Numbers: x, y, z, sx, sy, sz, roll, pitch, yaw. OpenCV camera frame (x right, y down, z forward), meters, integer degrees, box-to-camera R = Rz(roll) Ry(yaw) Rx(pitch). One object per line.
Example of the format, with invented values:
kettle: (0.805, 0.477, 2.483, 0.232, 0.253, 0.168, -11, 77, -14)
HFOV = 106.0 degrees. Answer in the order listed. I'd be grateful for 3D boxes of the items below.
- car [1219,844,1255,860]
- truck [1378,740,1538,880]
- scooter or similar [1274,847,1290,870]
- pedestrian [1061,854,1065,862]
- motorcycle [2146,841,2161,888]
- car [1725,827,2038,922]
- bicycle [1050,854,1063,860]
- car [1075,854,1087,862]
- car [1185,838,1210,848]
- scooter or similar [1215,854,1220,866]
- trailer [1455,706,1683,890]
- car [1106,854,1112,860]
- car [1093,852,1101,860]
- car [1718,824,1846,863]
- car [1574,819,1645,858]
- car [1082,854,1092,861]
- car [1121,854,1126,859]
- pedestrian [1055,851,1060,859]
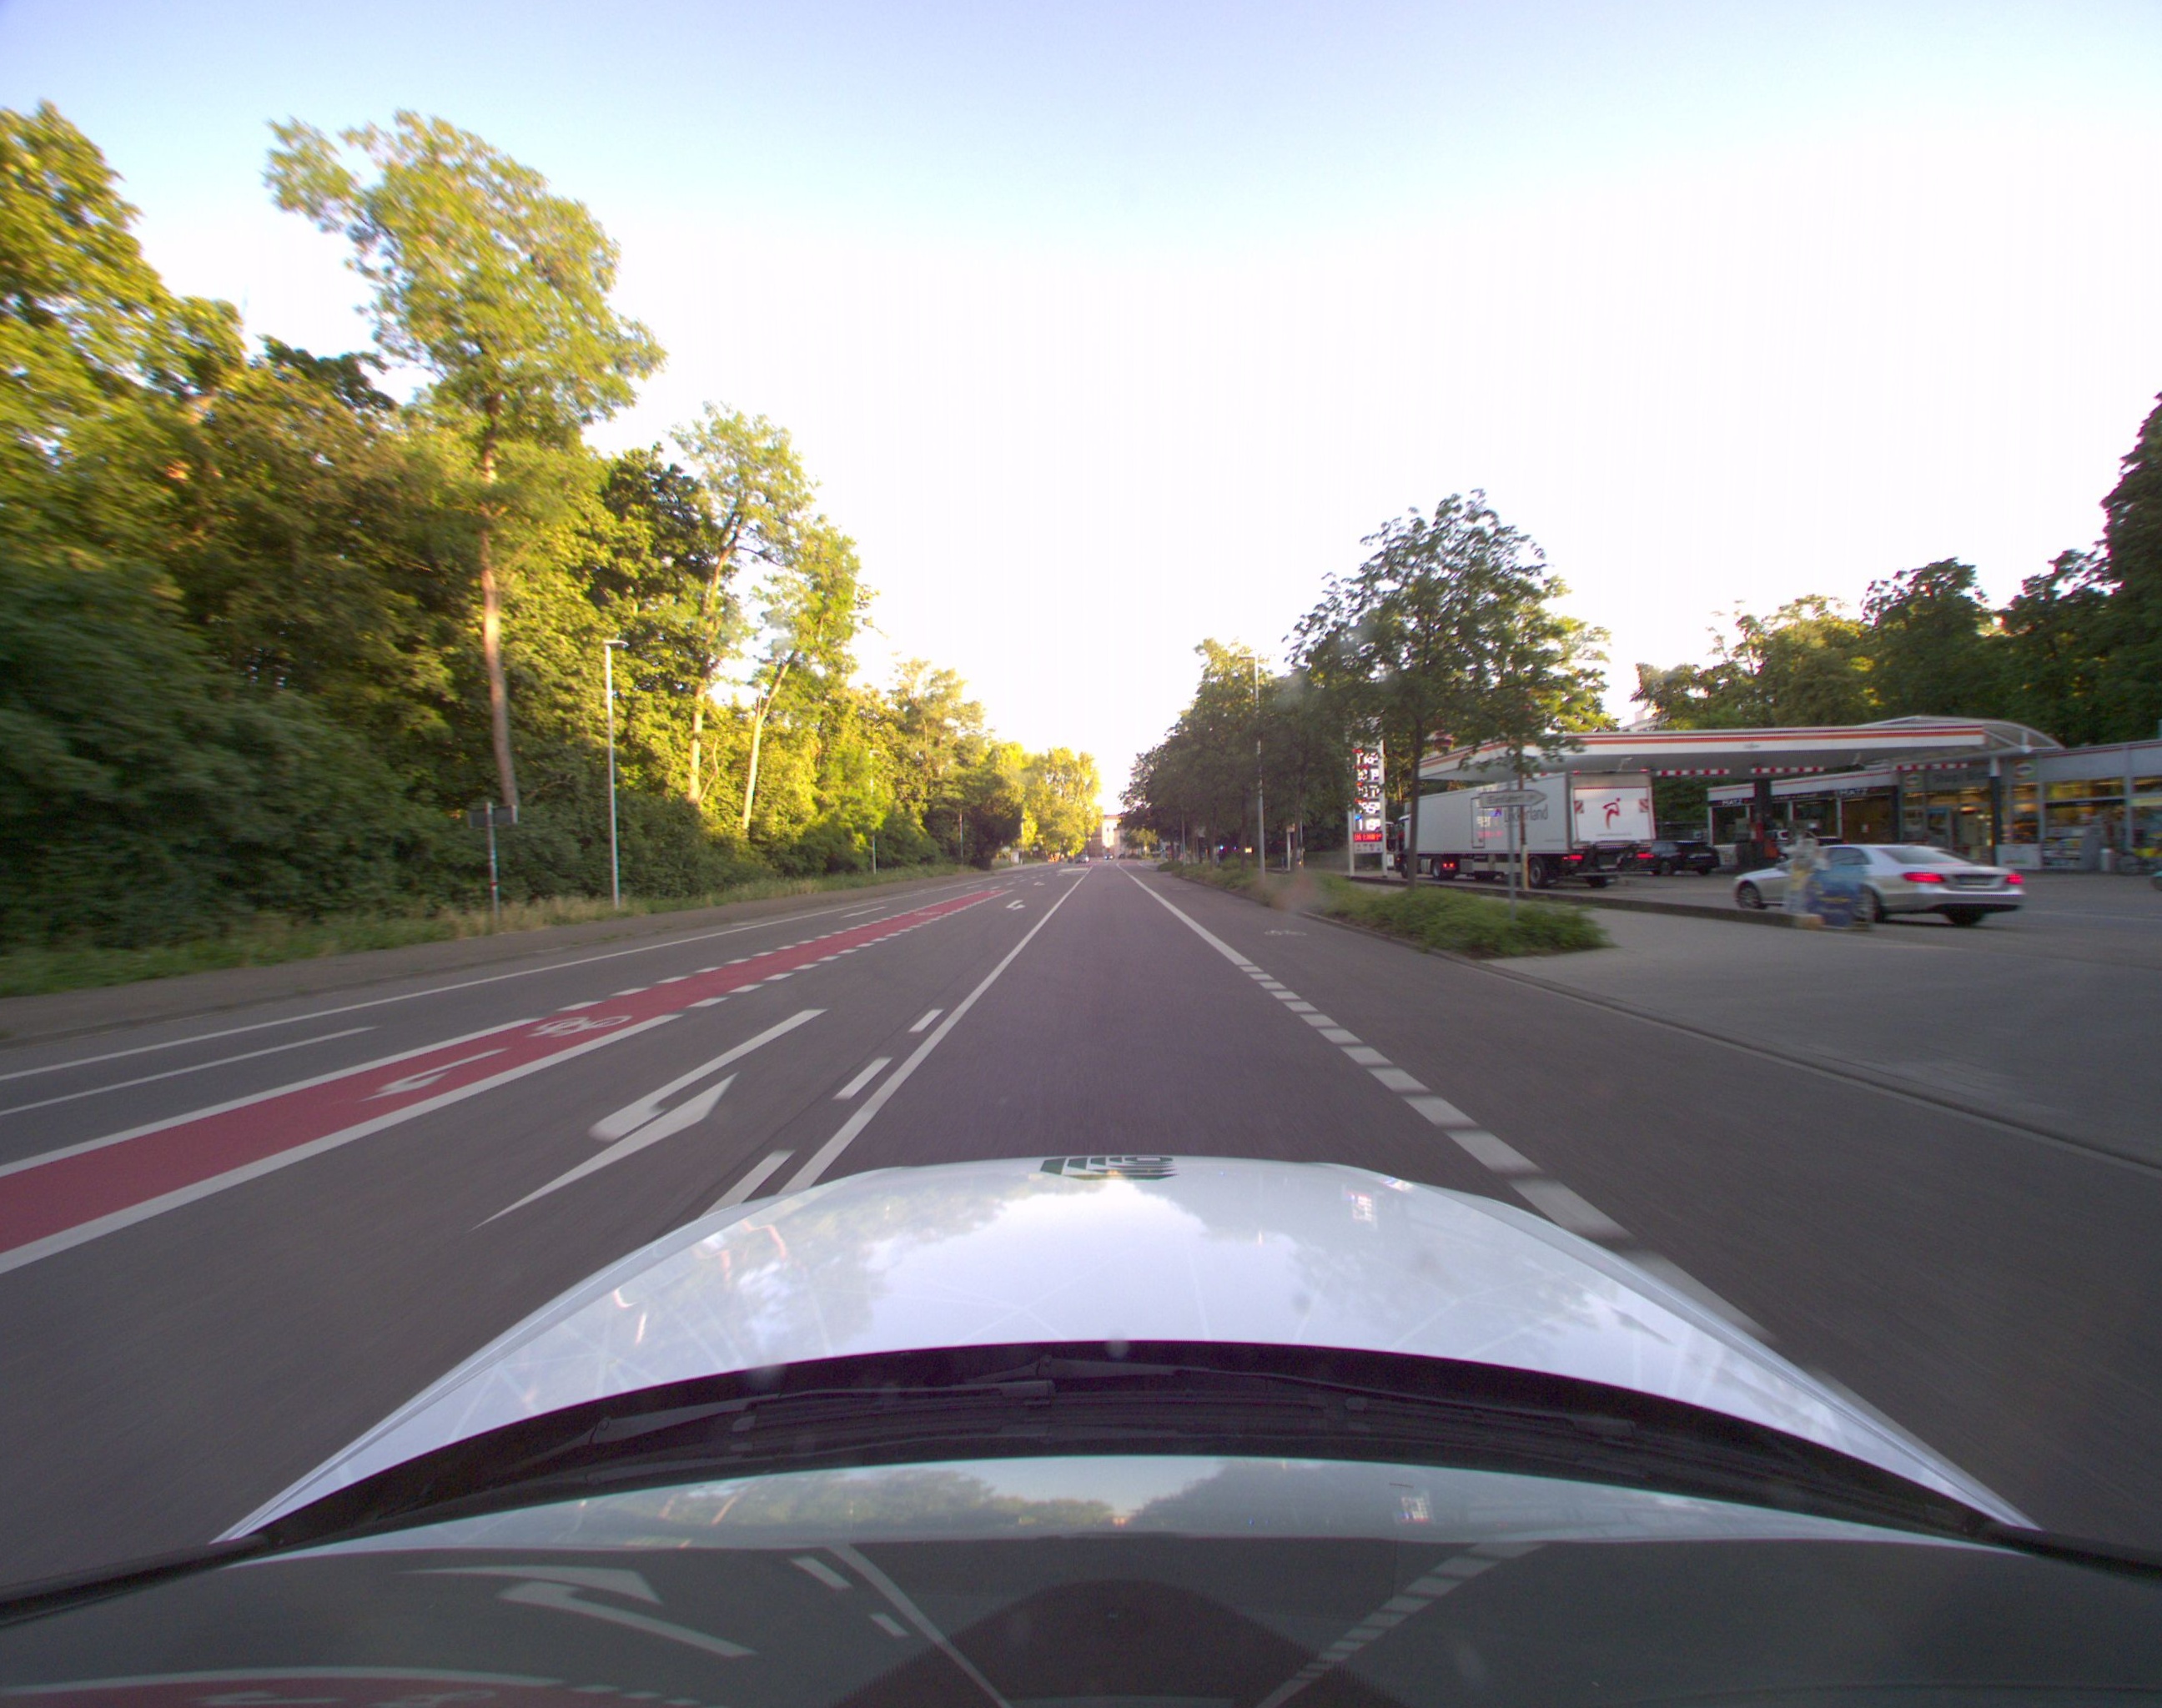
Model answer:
car: (21.421, -0.264, 112.002, 4.881, 1.990, 1.927, -2, 0, 9)
truck: (16.385, -1.800, 36.251, 3.024, 5.455, 8.406, -1, 1, -1)
scooter or similar: (11.552, 0.278, 46.814, 0.595, 1.282, 1.469, -2, 0, 2)
pedestrian: (-3.838, 0.879, 173.934, 0.786, 1.580, 0.748, 0, 0, 11)
motorcycle: (27.604, 0.256, 19.878, 0.622, 1.179, 1.857, -2, 0, -9)
car: (15.316, 0.341, 16.070, 1.761, 1.583, 4.826, 0, 0, 5)
bicycle: (-5.020, 0.592, 166.963, 2.446, 1.195, 0.759, -2, 0, 11)
car: (0.031, 0.721, 147.518, 1.789, 1.453, 4.132, -2, 0, 4)
car: (21.240, -2.030, 148.804, 4.433, 1.590, 1.720, -2, 0, 9)
scooter or similar: (12.366, 0.554, 73.733, 0.309, 1.041, 0.981, -2, 0, 2)
trailer: (16.531, -1.724, 28.496, 3.012, 5.461, 7.930, -1, 0, -1)
car: (7.299, 0.874, 212.883, 1.487, 1.486, 3.493, -2, 0, 2)
car: (3.292, 0.383, 167.552, 1.487, 1.486, 3.493, -2, 0, 2)
car: (30.600, -0.436, 35.762, 1.978, 1.583, 4.628, 0, 0, 5)
car: (32.797, -0.923, 50.670, 1.761, 2.347, 4.628, 0, 0, 5)
car: (1.269, 0.656, 165.943, 1.789, 1.453, 4.132, -2, 0, 4)
car: (11.934, 0.657, 227.941, 1.487, 1.486, 3.493, -1, 0, 2)
pedestrian: (-4.832, 0.225, 166.932, 0.786, 1.580, 0.748, 0, 0, 11)
